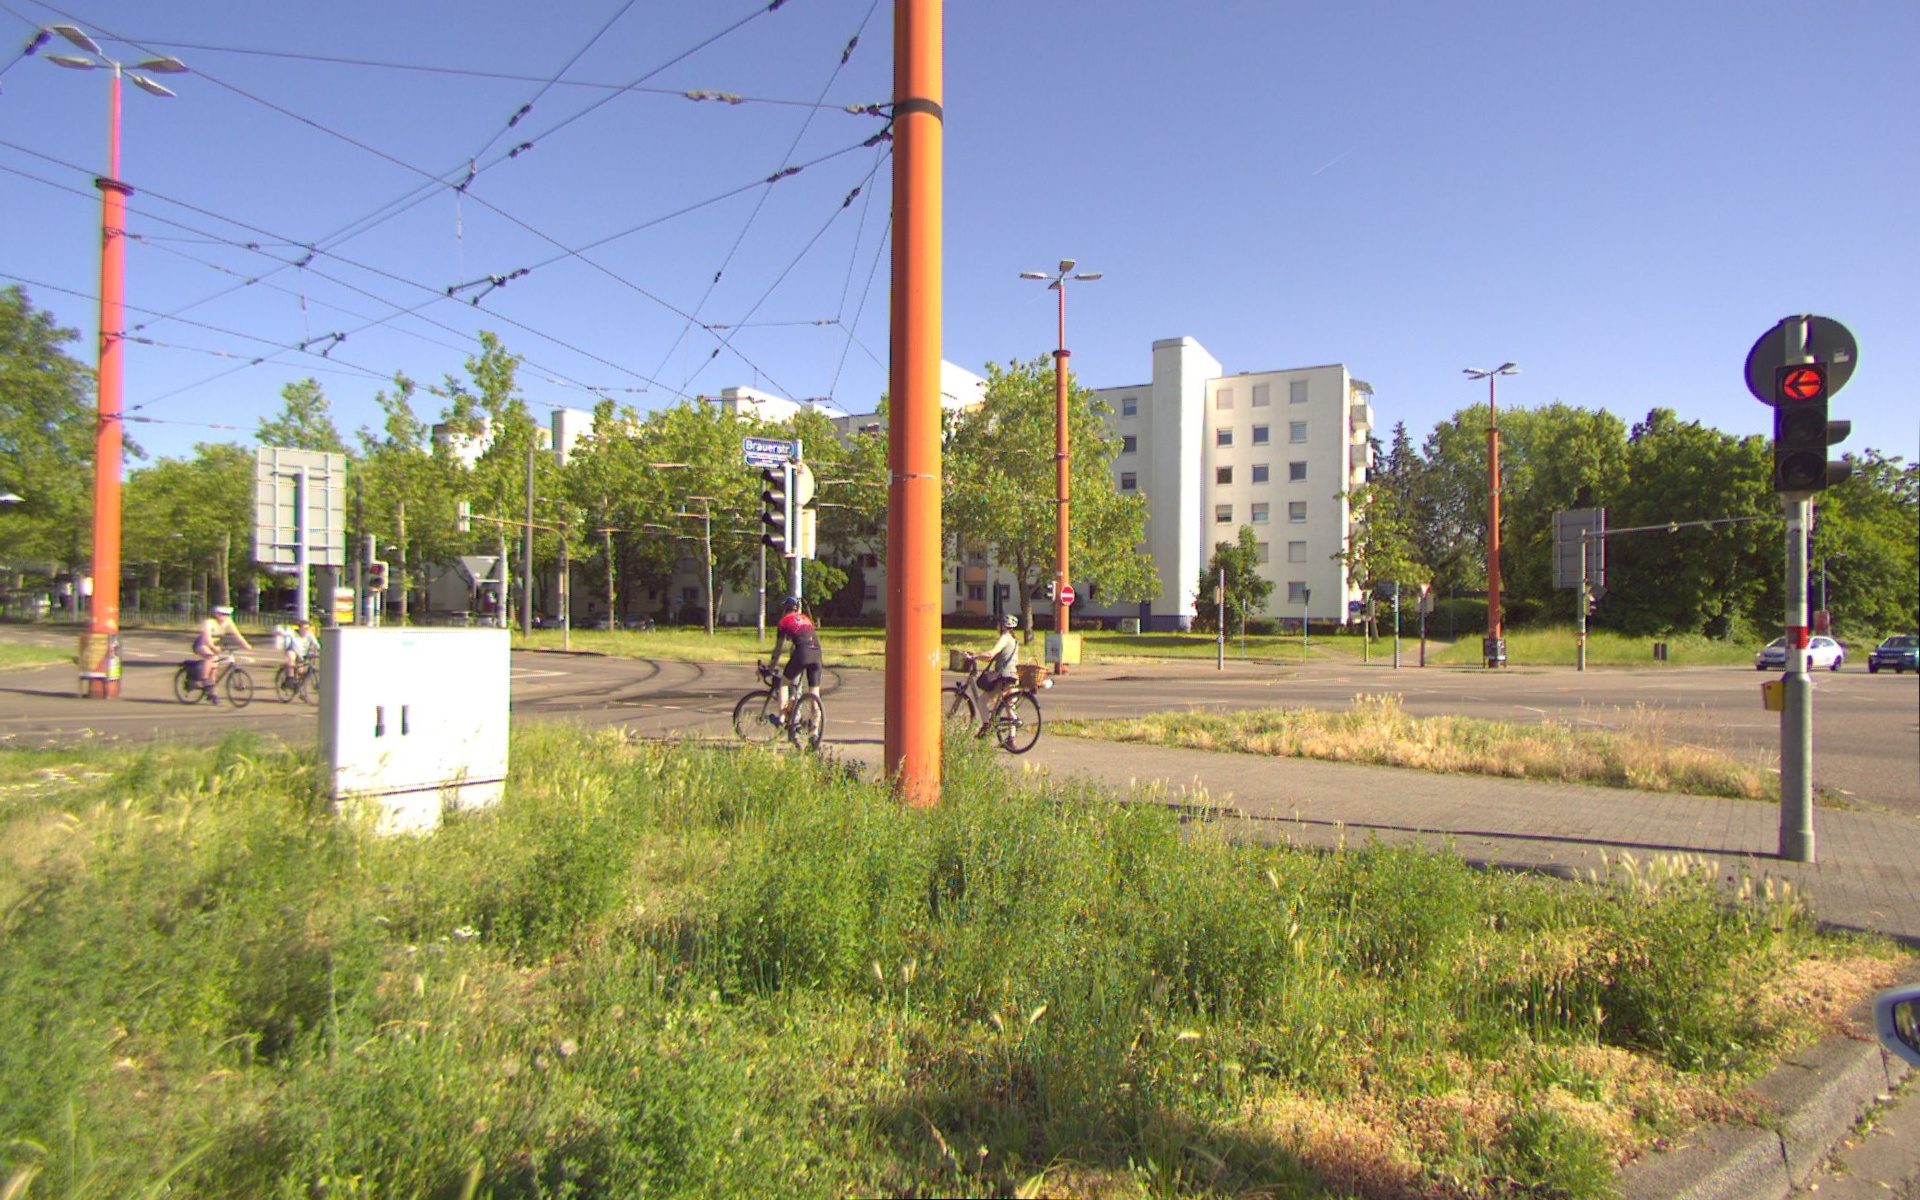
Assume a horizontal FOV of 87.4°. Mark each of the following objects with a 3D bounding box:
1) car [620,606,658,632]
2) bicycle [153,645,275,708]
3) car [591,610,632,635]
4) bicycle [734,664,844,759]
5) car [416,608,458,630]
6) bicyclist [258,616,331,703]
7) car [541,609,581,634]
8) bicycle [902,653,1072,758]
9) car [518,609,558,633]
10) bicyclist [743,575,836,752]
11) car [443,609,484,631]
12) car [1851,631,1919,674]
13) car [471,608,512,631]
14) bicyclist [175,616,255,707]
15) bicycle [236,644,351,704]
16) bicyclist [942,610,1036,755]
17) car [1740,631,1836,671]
[{"bbox_3d":[-23.403,1.406,73.419,1.963,1.840,3.995,1,-1,-8],"label":"car"},{"bbox_3d":[-14.028,1.415,18.898,1.849,1.102,0.928,0,-1,18],"label":"bicycle"},{"bbox_3d":[-26.110,1.693,75.331,1.962,1.840,3.997,1,-1,-5],"label":"car"},{"bbox_3d":[-2.114,1.310,12.238,0.915,0.976,1.747,1,-1,-24],"label":"bicycle"},{"bbox_3d":[-46.023,1.684,88.478,1.963,1.840,3.995,1,-1,-8],"label":"car"},{"bbox_3d":[-13.211,1.165,19.970,0.726,1.659,0.934,0,-1,18],"label":"bicyclist"},{"bbox_3d":[-31.193,1.683,78.680,1.963,1.840,3.995,1,-1,-8],"label":"car"},{"bbox_3d":[0.315,1.229,12.123,1.855,1.102,0.925,0,-1,34],"label":"bicycle"},{"bbox_3d":[-33.809,1.678,80.530,1.963,1.840,3.995,1,-1,-8],"label":"car"},{"bbox_3d":[-2.065,0.751,12.142,0.921,2.040,0.736,1,-1,-25],"label":"bicyclist"},{"bbox_3d":[-42.674,1.707,86.450,1.963,1.840,3.995,1,-1,-8],"label":"car"},{"bbox_3d":[37.268,2.042,39.868,4.079,1.594,1.981,2,-1,-35],"label":"car"},{"bbox_3d":[-39.284,1.649,84.328,1.963,1.840,3.995,1,-1,-8],"label":"car"},{"bbox_3d":[-14.001,1.137,18.899,0.726,1.659,0.934,0,-1,18],"label":"bicyclist"},{"bbox_3d":[-13.251,1.446,19.982,1.849,1.102,0.928,0,-1,18],"label":"bicycle"},{"bbox_3d":[0.360,0.959,12.100,0.728,1.659,0.931,0,-1,35],"label":"bicyclist"},{"bbox_3d":[35.144,2.154,42.609,4.075,1.594,1.983,1,-1,-32],"label":"car"}]
